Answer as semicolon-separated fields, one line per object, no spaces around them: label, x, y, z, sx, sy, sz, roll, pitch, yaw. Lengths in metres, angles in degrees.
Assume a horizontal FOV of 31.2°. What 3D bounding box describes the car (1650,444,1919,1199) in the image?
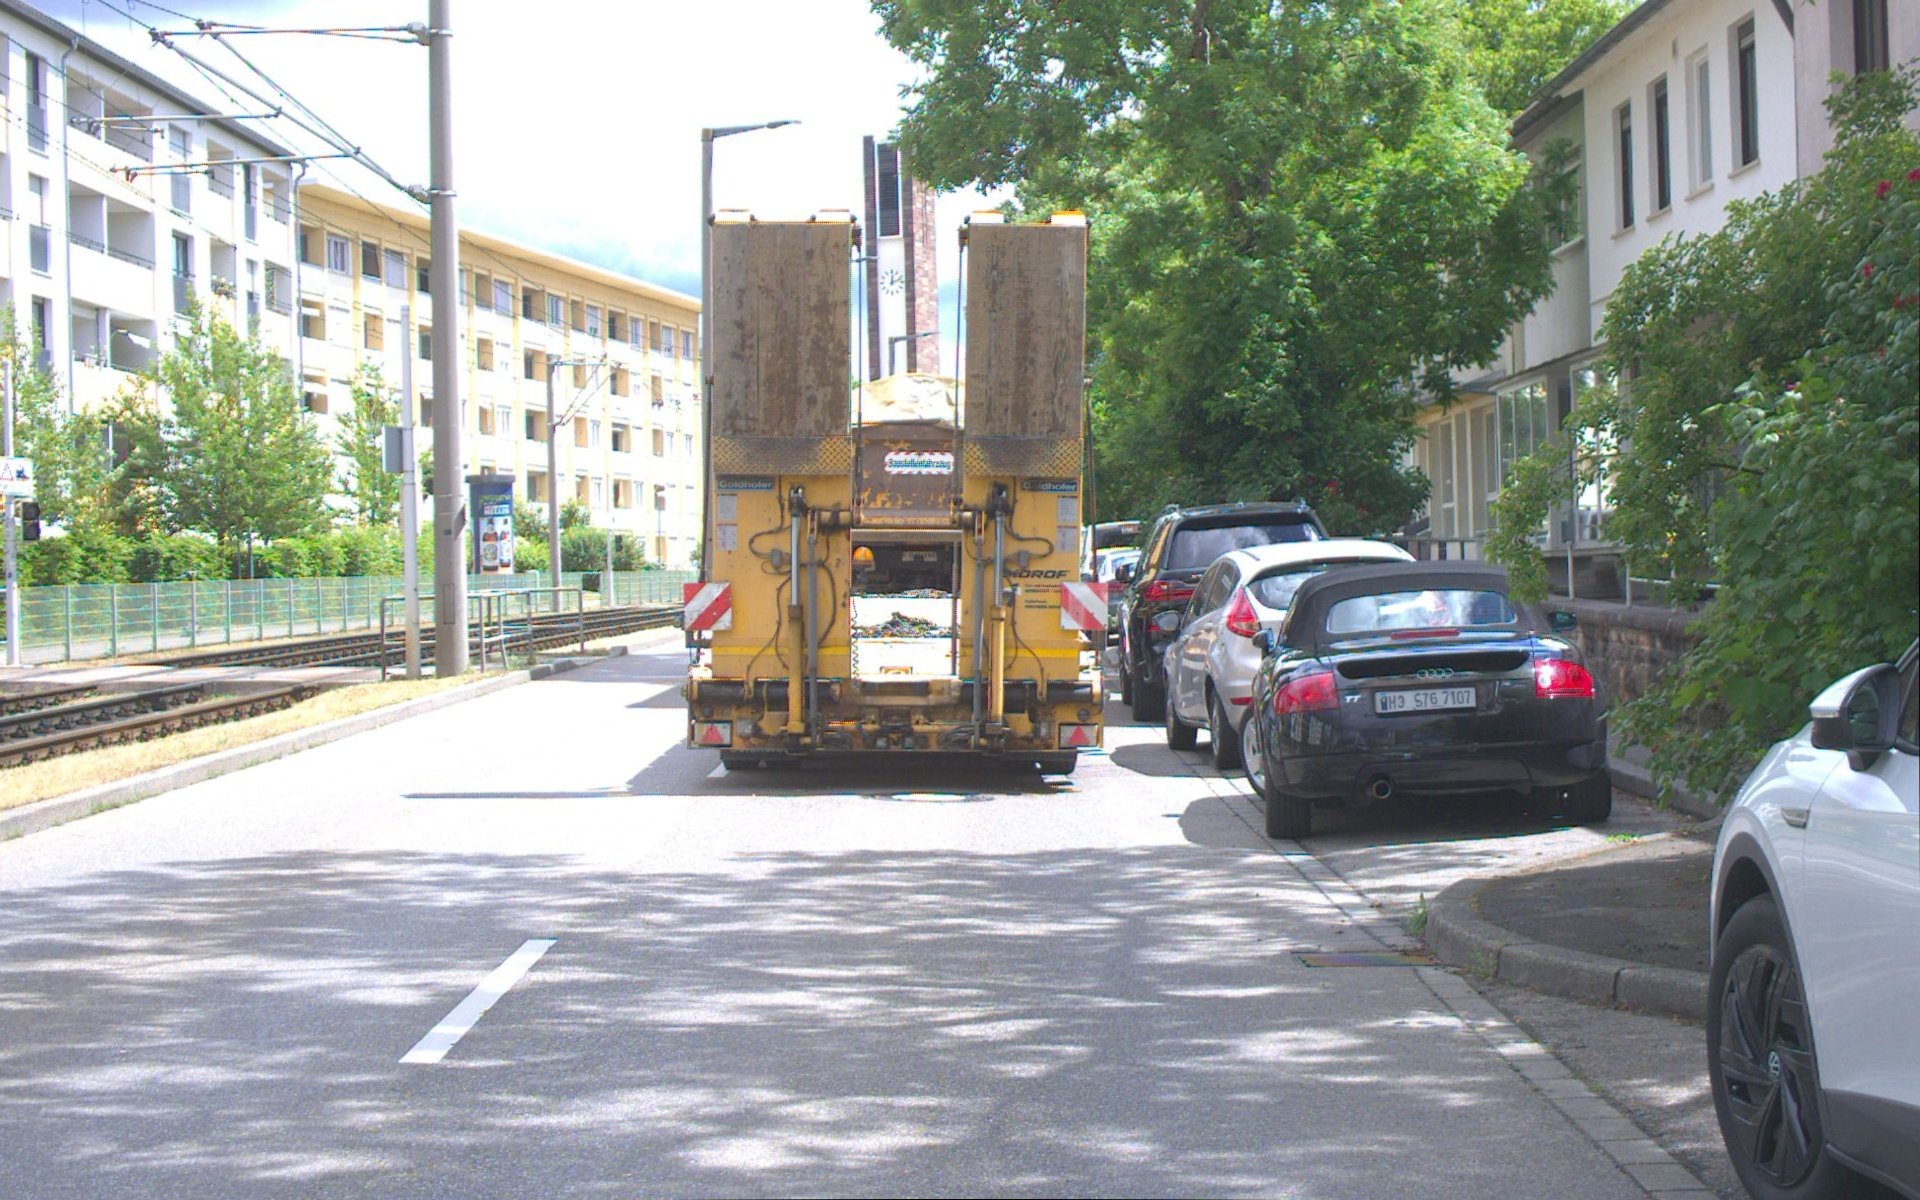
car;2.581;0.541;5.904;1.837;1.638;4.430;-1;1;-1

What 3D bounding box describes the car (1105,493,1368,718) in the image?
car;2.367;0.009;30.638;2.015;1.782;5.076;-2;1;2

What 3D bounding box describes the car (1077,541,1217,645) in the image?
car;2.743;-0.125;51.352;1.755;1.437;4.494;-2;1;-1

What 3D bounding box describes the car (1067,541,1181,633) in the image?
car;2.753;-0.238;58.334;1.755;1.437;4.341;-2;1;1

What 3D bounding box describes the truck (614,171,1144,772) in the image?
truck;-0.527;-0.864;26.695;3.124;3.552;12.460;-1;1;0

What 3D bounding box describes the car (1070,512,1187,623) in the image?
car;3.117;-0.625;64.674;1.914;1.952;5.745;-2;1;0

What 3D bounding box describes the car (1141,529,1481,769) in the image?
car;2.347;0.291;23.922;1.771;1.437;3.900;-3;1;-2

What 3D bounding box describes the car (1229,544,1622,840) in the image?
car;2.413;0.416;18.688;1.771;1.345;4.000;-3;1;4
